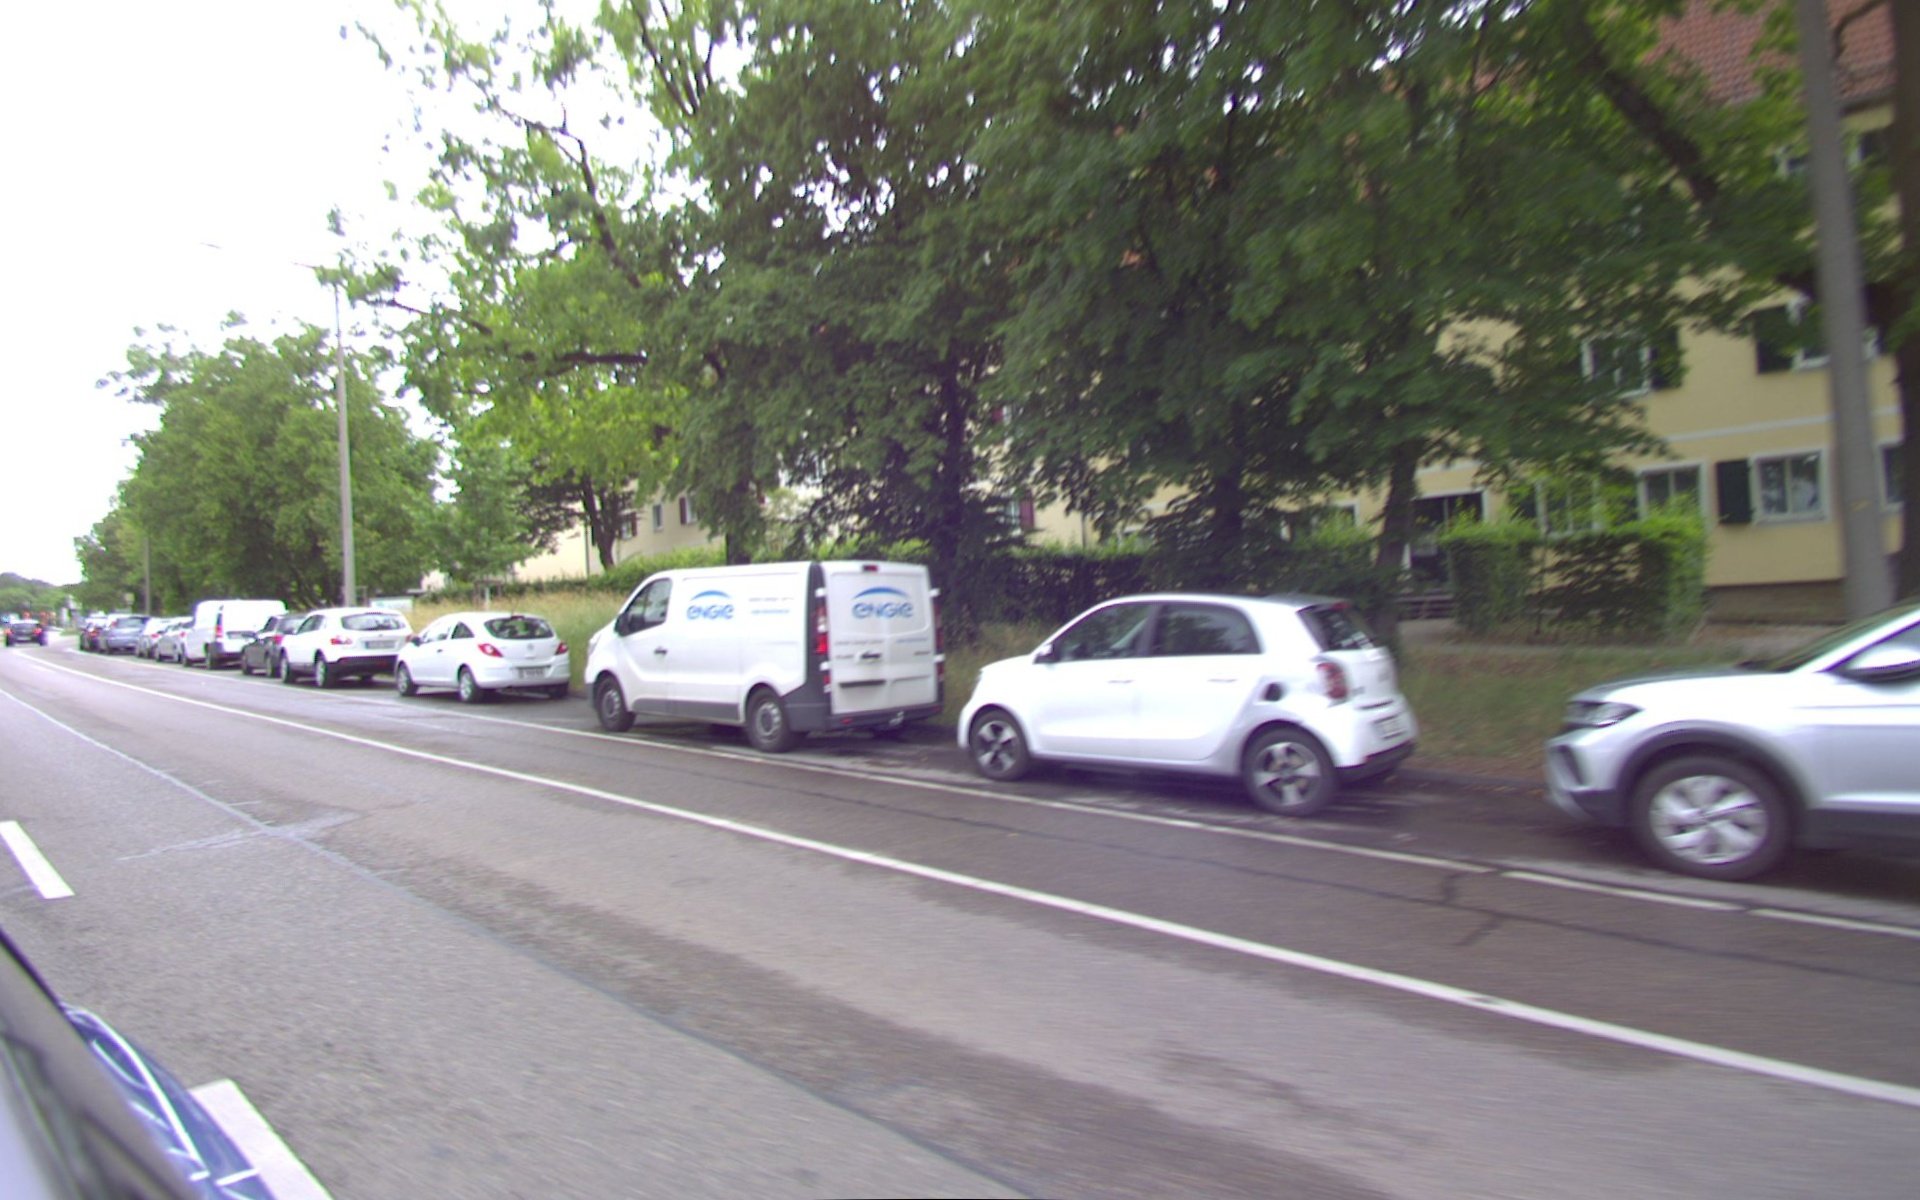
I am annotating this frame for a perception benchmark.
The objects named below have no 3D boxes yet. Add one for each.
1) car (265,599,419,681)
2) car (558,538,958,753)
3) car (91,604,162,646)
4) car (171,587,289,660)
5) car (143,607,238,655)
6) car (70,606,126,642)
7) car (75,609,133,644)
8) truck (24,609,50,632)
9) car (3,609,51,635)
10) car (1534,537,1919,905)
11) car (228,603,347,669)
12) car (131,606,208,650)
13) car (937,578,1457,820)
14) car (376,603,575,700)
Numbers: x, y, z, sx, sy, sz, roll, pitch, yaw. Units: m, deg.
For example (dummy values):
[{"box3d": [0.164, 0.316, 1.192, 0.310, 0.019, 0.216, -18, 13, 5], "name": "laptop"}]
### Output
[{"box3d": [-13.189, 0.813, 21.490, 4.280, 1.576, 1.655, -2, -1, 42], "name": "car"}, {"box3d": [-2.545, 0.469, 11.746, 5.125, 1.978, 1.846, -2, -1, 42], "name": "car"}, {"box3d": [-34.089, 1.018, 41.372, 4.135, 1.604, 1.748, -2, -1, 43], "name": "car"}, {"box3d": [-21.326, 0.702, 29.459, 5.154, 1.945, 1.749, -2, 0, 43], "name": "car"}, {"box3d": [-25.326, 1.030, 33.277, 3.946, 1.444, 1.618, -2, 0, 40], "name": "car"}, {"box3d": [-41.265, 1.148, 48.403, 1.853, 1.582, 4.655, -1, 0, -43], "name": "car"}, {"box3d": [-38.125, 1.173, 45.048, 1.747, 1.458, 4.153, 0, -1, -44], "name": "car"}, {"box3d": [-145.326, 3.290, 159.414, 2.790, 3.507, 7.835, 0, -1, -41], "name": "truck"}, {"box3d": [-53.791, 1.269, 58.400, 1.616, 1.478, 4.008, 1, -2, -37], "name": "car"}, {"box3d": [5.279, 0.525, 4.798, 4.157, 1.646, 1.747, -2, -1, 42], "name": "car"}, {"box3d": [-16.783, 0.876, 25.185, 4.046, 1.499, 1.654, -2, -2, 45], "name": "car"}, {"box3d": [-29.256, 1.048, 37.389, 1.747, 1.507, 4.359, 1, -2, -45], "name": "car"}, {"box3d": [1.732, 0.647, 8.061, 3.717, 1.493, 1.565, -2, -1, 40], "name": "car"}, {"box3d": [-8.548, 0.838, 17.698, 4.088, 1.490, 1.645, -1, -1, 41], "name": "car"}]
